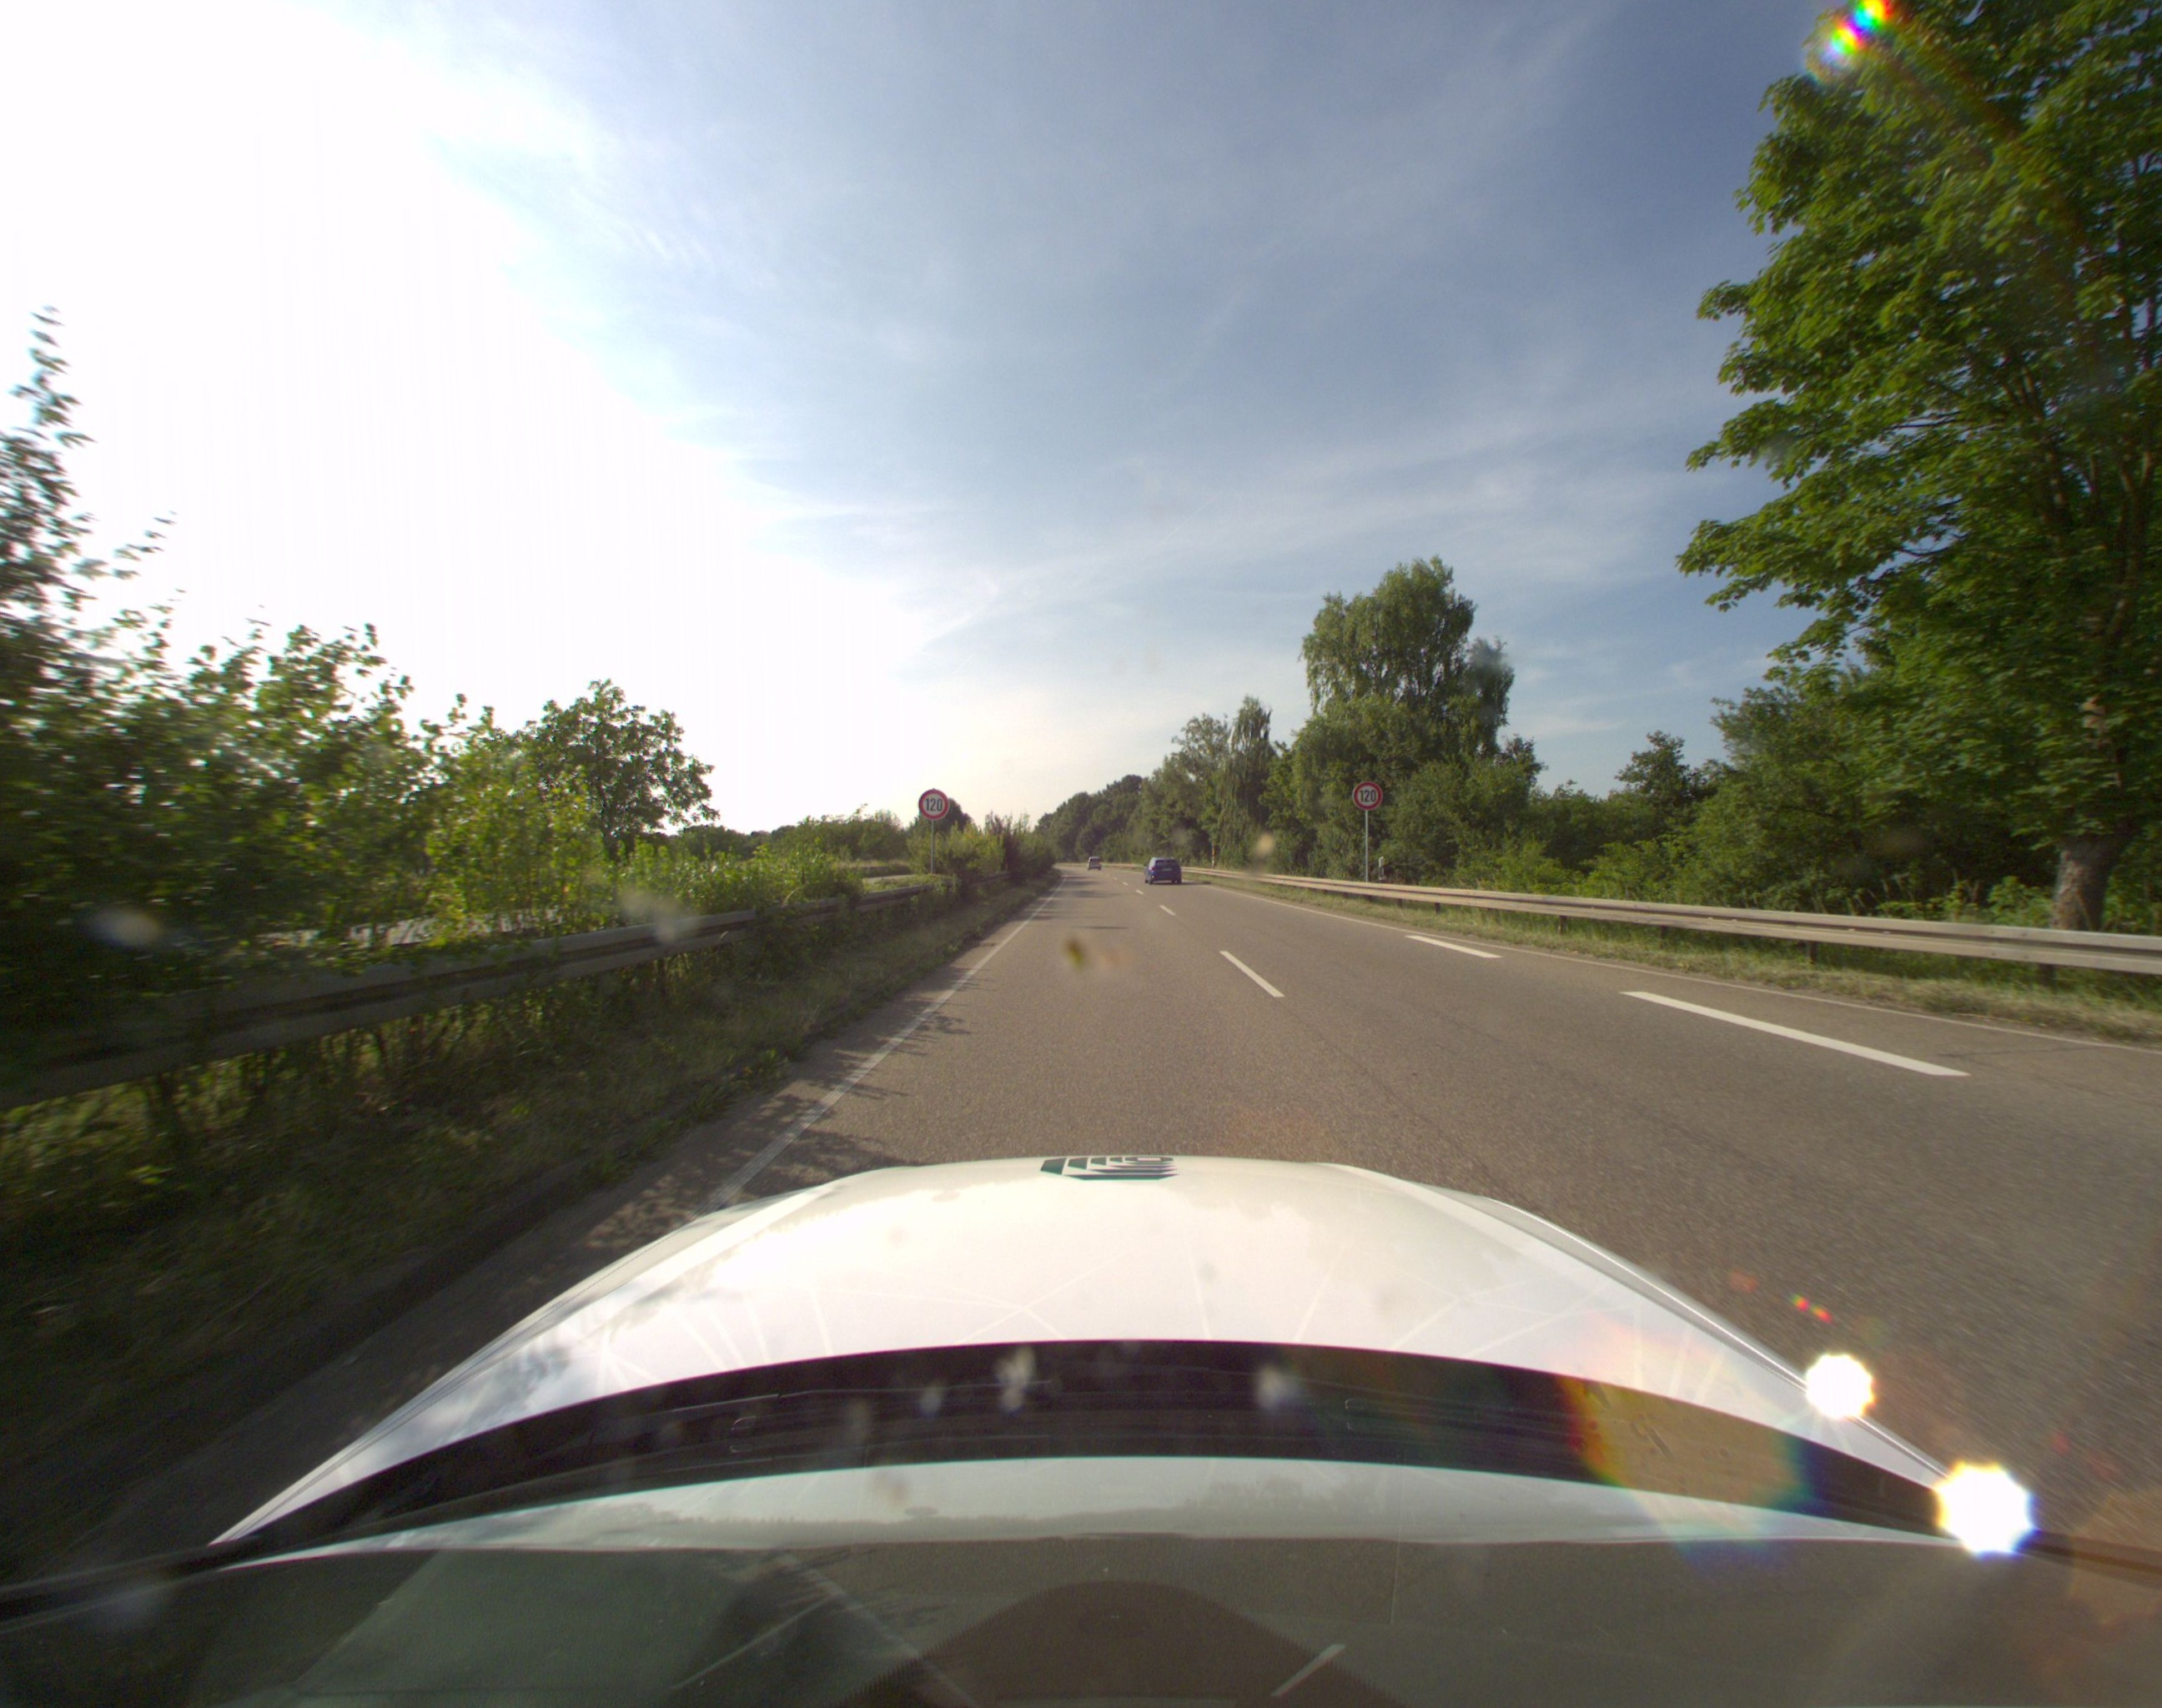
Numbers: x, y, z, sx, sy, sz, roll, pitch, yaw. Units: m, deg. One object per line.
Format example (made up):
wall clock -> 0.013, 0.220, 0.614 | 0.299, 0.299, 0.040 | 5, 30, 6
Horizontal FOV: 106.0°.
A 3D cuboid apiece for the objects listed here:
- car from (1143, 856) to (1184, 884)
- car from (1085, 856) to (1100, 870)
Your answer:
car -> 4.484, 0.854, 44.747 | 1.774, 1.451, 3.998 | -1, -1, -1
car -> 1.593, 1.241, 111.051 | 1.761, 1.882, 3.996 | -1, 0, -3
